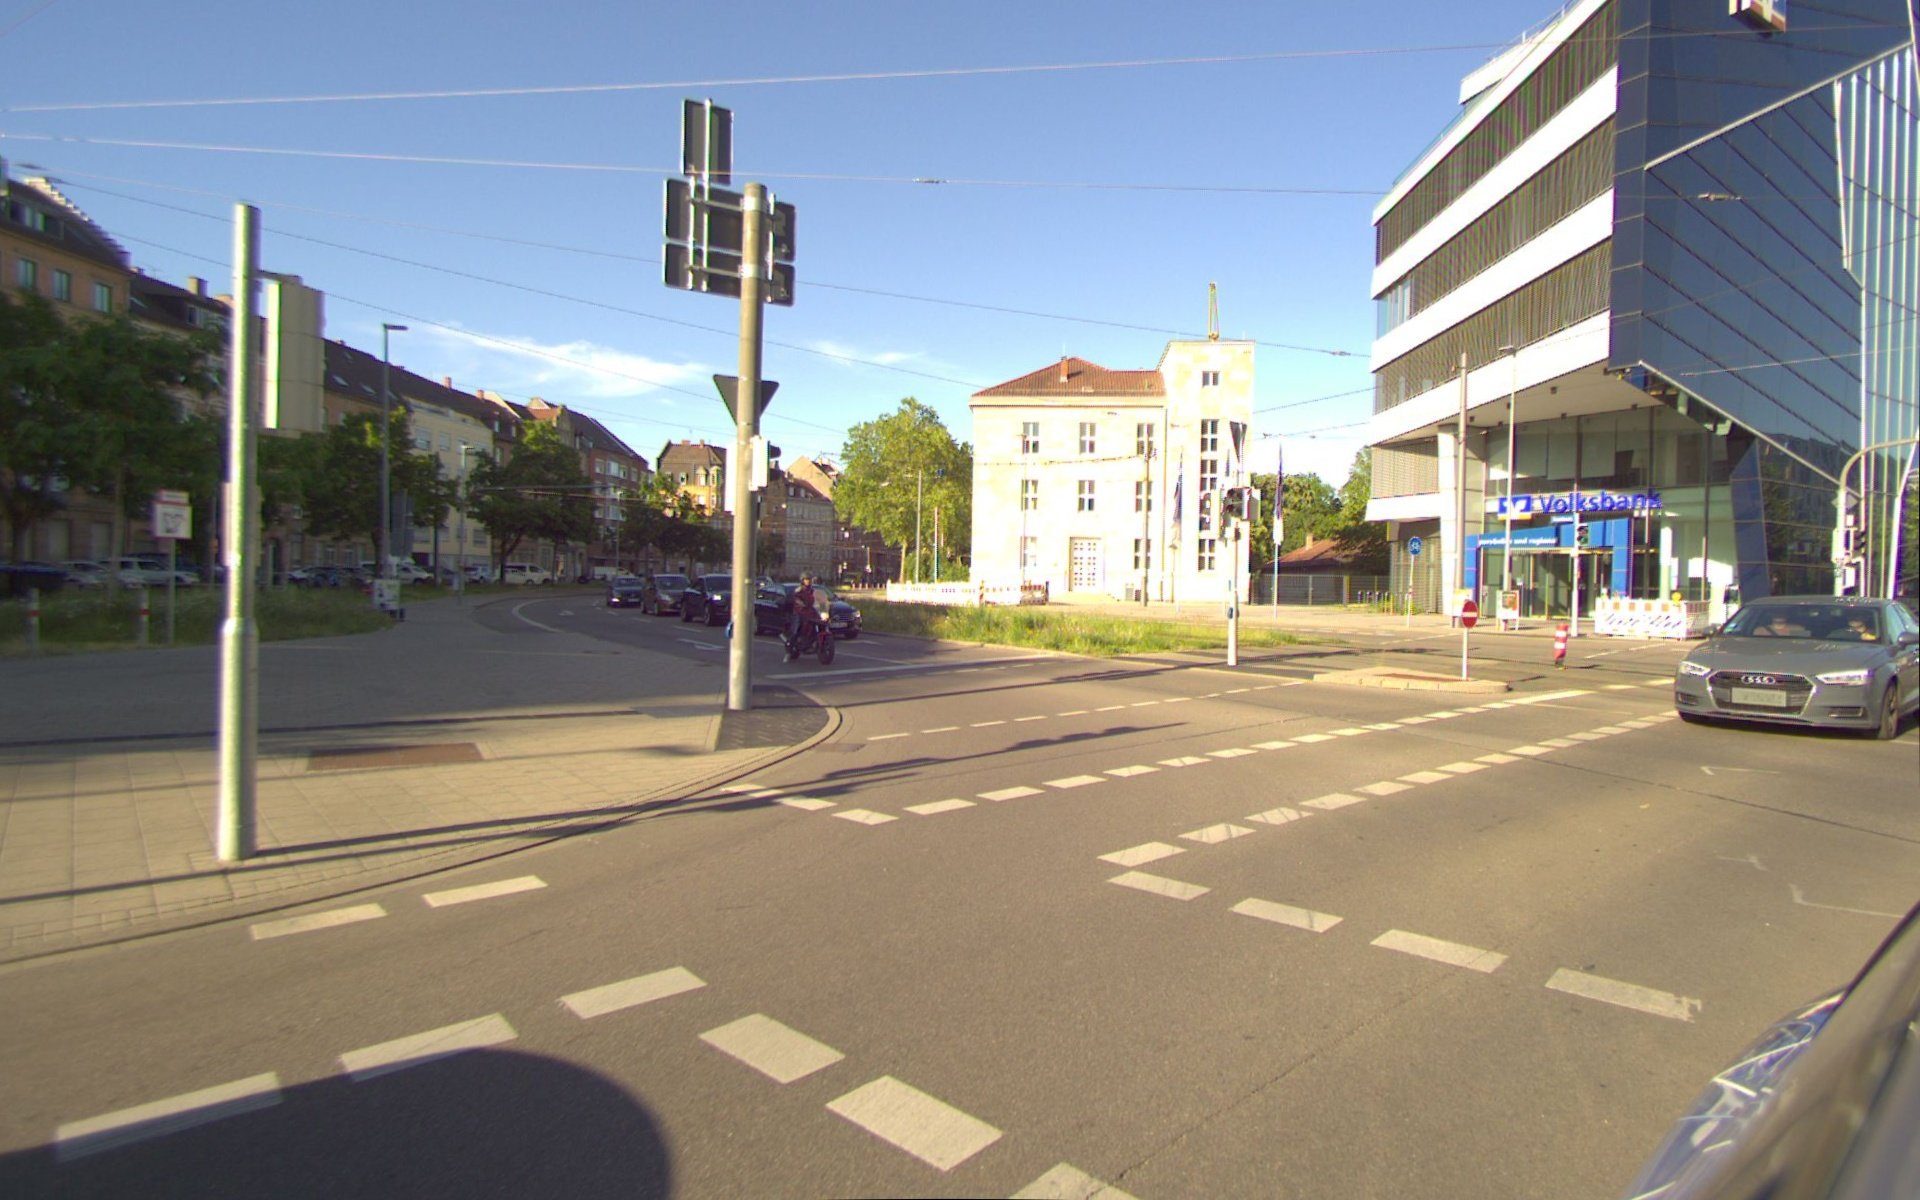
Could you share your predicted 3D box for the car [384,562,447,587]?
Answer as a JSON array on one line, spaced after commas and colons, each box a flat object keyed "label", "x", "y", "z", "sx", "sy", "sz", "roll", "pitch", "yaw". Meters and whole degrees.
[{"label": "car", "x": -39.482, "y": -1.863, "z": 73.476, "sx": 3.918, "sy": 1.738, "sz": 2.003, "roll": 0, "pitch": 1, "yaw": -27}]

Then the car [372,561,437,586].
[{"label": "car", "x": -38.858, "y": -1.840, "z": 70.883, "sx": 3.918, "sy": 1.738, "sz": 2.003, "roll": 0, "pitch": 1, "yaw": -27}]

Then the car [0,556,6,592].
[{"label": "car", "x": -48.559, "y": -1.254, "z": 48.423, "sx": 4.187, "sy": 1.738, "sz": 1.997, "roll": 1, "pitch": 1, "yaw": 6}]

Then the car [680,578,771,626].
[{"label": "car", "x": -7.855, "y": 0.027, "z": 33.600, "sx": 1.959, "sy": 1.440, "sz": 4.006, "roll": 0, "pitch": 1, "yaw": -28}]

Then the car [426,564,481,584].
[{"label": "car", "x": -45.670, "y": -2.316, "z": 91.266, "sx": 4.180, "sy": 1.738, "sz": 2.001, "roll": 0, "pitch": 1, "yaw": -34}]

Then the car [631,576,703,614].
[{"label": "car", "x": -11.670, "y": -0.228, "z": 40.175, "sx": 1.959, "sy": 1.440, "sz": 4.006, "roll": 0, "pitch": 1, "yaw": -28}]

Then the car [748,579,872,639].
[{"label": "car", "x": -4.095, "y": 0.172, "z": 27.053, "sx": 1.959, "sy": 1.440, "sz": 4.301, "roll": 0, "pitch": 1, "yaw": -28}]

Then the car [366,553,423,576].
[{"label": "car", "x": -45.876, "y": -2.855, "z": 82.220, "sx": 1.965, "sy": 1.738, "sz": 4.257, "roll": 1, "pitch": 1, "yaw": 5}]

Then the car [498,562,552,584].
[{"label": "car", "x": -37.064, "y": -2.289, "z": 86.324, "sx": 4.173, "sy": 1.738, "sz": 2.004, "roll": 0, "pitch": 1, "yaw": -24}]

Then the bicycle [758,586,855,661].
[{"label": "bicycle", "x": -3.033, "y": 0.417, "z": 19.806, "sx": 0.933, "sy": 1.328, "sz": 2.372, "roll": 0, "pitch": 1, "yaw": -35}]

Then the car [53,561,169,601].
[{"label": "car", "x": -39.057, "y": -0.867, "z": 46.699, "sx": 3.924, "sy": 1.738, "sz": 2.000, "roll": 0, "pitch": 1, "yaw": -36}]

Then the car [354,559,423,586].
[{"label": "car", "x": -38.312, "y": -1.816, "z": 67.941, "sx": 3.918, "sy": 1.738, "sz": 2.003, "roll": 0, "pitch": 1, "yaw": -27}]

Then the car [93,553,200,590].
[{"label": "car", "x": -39.506, "y": -1.360, "z": 49.255, "sx": 3.924, "sy": 1.738, "sz": 2.000, "roll": 0, "pitch": 1, "yaw": -36}]

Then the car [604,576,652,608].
[{"label": "car", "x": -16.015, "y": -0.425, "z": 48.697, "sx": 1.958, "sy": 1.440, "sz": 4.536, "roll": 0, "pitch": 1, "yaw": -21}]

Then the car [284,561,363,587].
[{"label": "car", "x": -38.863, "y": -1.568, "z": 61.857, "sx": 3.918, "sy": 1.504, "sz": 2.003, "roll": 0, "pitch": 1, "yaw": -27}]

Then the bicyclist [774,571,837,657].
[{"label": "bicyclist", "x": -3.028, "y": 0.256, "z": 19.826, "sx": 0.863, "sy": 1.627, "sz": 1.008, "roll": 0, "pitch": 1, "yaw": -35}]

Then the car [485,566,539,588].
[{"label": "car", "x": -36.917, "y": -1.901, "z": 83.394, "sx": 3.918, "sy": 1.738, "sz": 2.003, "roll": 0, "pitch": 1, "yaw": -27}]

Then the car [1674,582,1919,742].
[{"label": "car", "x": 9.608, "y": 0.547, "z": 11.236, "sx": 4.037, "sy": 1.459, "sz": 1.714, "roll": 0, "pitch": 1, "yaw": -39}]

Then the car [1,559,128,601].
[{"label": "car", "x": -38.814, "y": -0.874, "z": 44.010, "sx": 3.924, "sy": 1.738, "sz": 2.000, "roll": 0, "pitch": 1, "yaw": -36}]

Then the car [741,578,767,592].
[{"label": "car", "x": -21.278, "y": -1.583, "z": 104.443, "sx": 1.898, "sy": 1.393, "sz": 4.001, "roll": 1, "pitch": 1, "yaw": 0}]

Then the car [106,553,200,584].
[{"label": "car", "x": -47.346, "y": -1.815, "z": 59.505, "sx": 1.965, "sy": 1.738, "sz": 4.257, "roll": 1, "pitch": 1, "yaw": 5}]

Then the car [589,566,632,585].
[{"label": "car", "x": -35.891, "y": -2.494, "z": 103.901, "sx": 3.917, "sy": 1.838, "sz": 2.004, "roll": 0, "pitch": 1, "yaw": -26}]
